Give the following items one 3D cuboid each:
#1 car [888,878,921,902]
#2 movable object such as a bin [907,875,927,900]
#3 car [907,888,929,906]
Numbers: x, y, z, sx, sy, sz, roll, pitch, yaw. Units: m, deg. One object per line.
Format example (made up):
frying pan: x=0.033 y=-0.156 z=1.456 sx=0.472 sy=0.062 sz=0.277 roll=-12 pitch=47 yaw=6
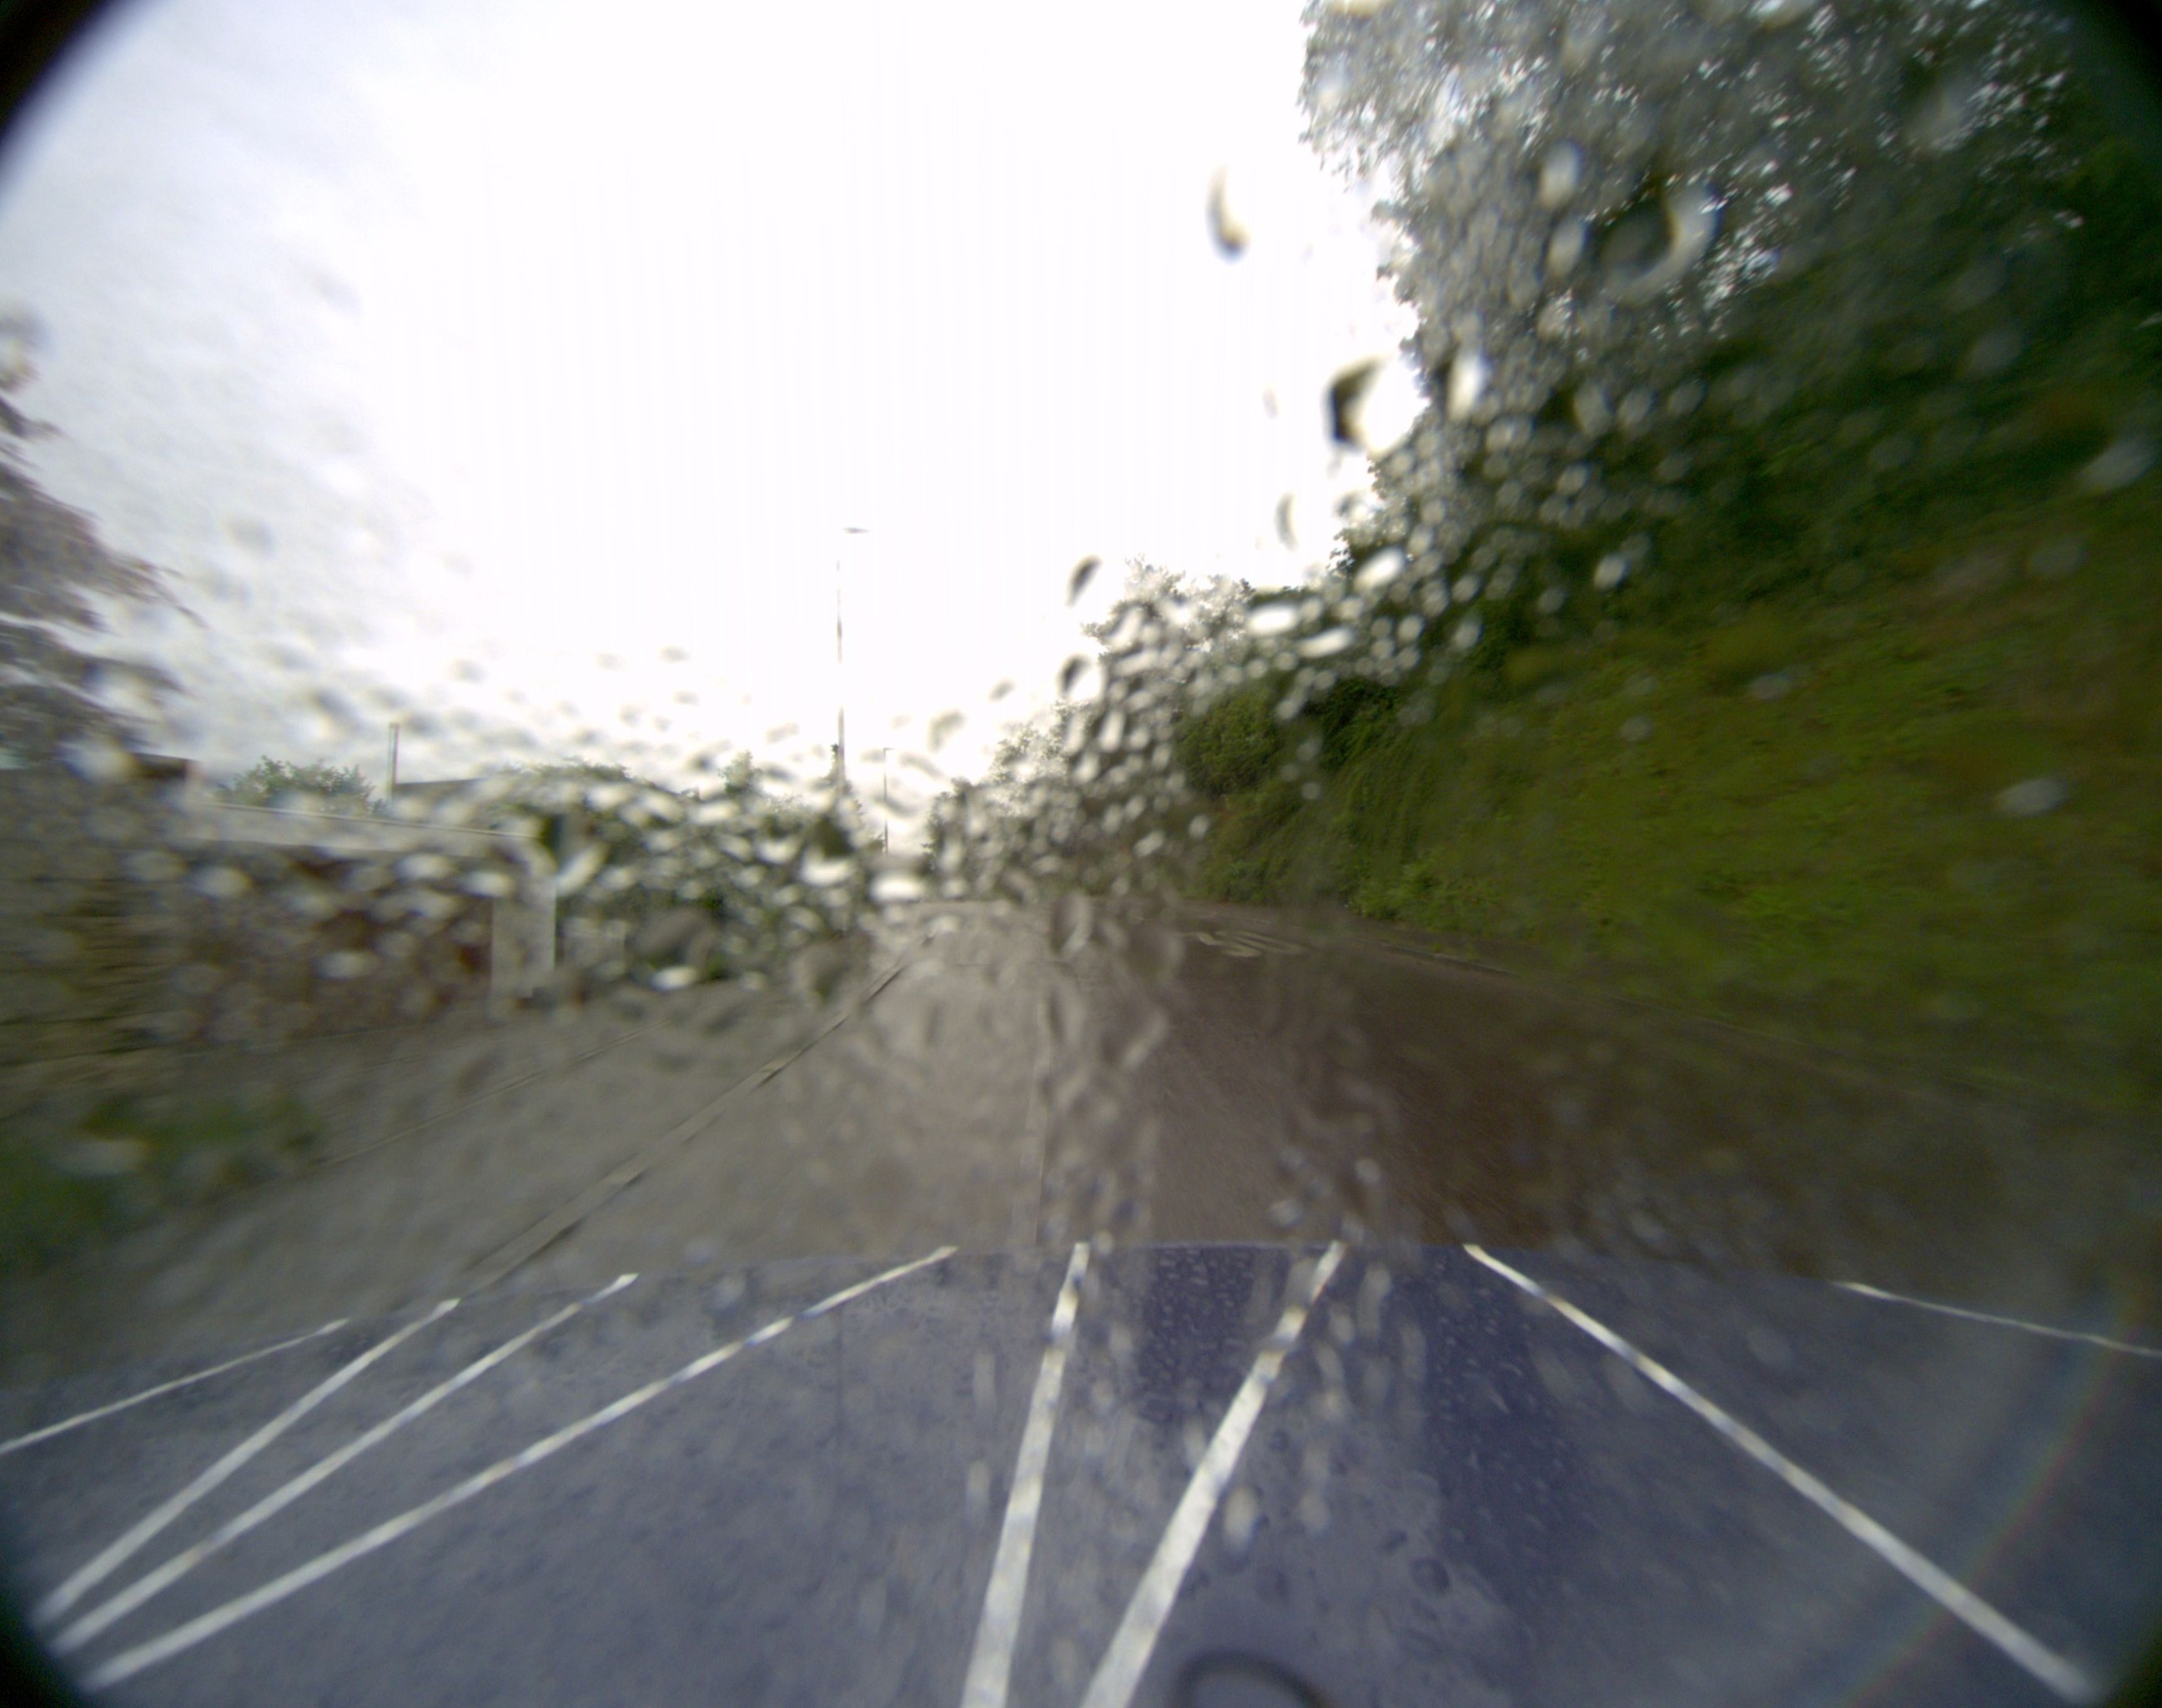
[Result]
car: x=-13.262 y=2.756 z=56.818 sx=1.883 sy=1.581 sz=4.475 roll=0 pitch=-5 yaw=-20
movable object such as a bin: x=-7.695 y=1.575 z=35.632 sx=0.793 sy=1.089 sz=0.674 roll=3 pitch=-3 yaw=-16
car: x=-19.037 y=5.047 z=88.729 sx=2.120 sy=1.961 sz=5.170 roll=0 pitch=-5 yaw=-16
